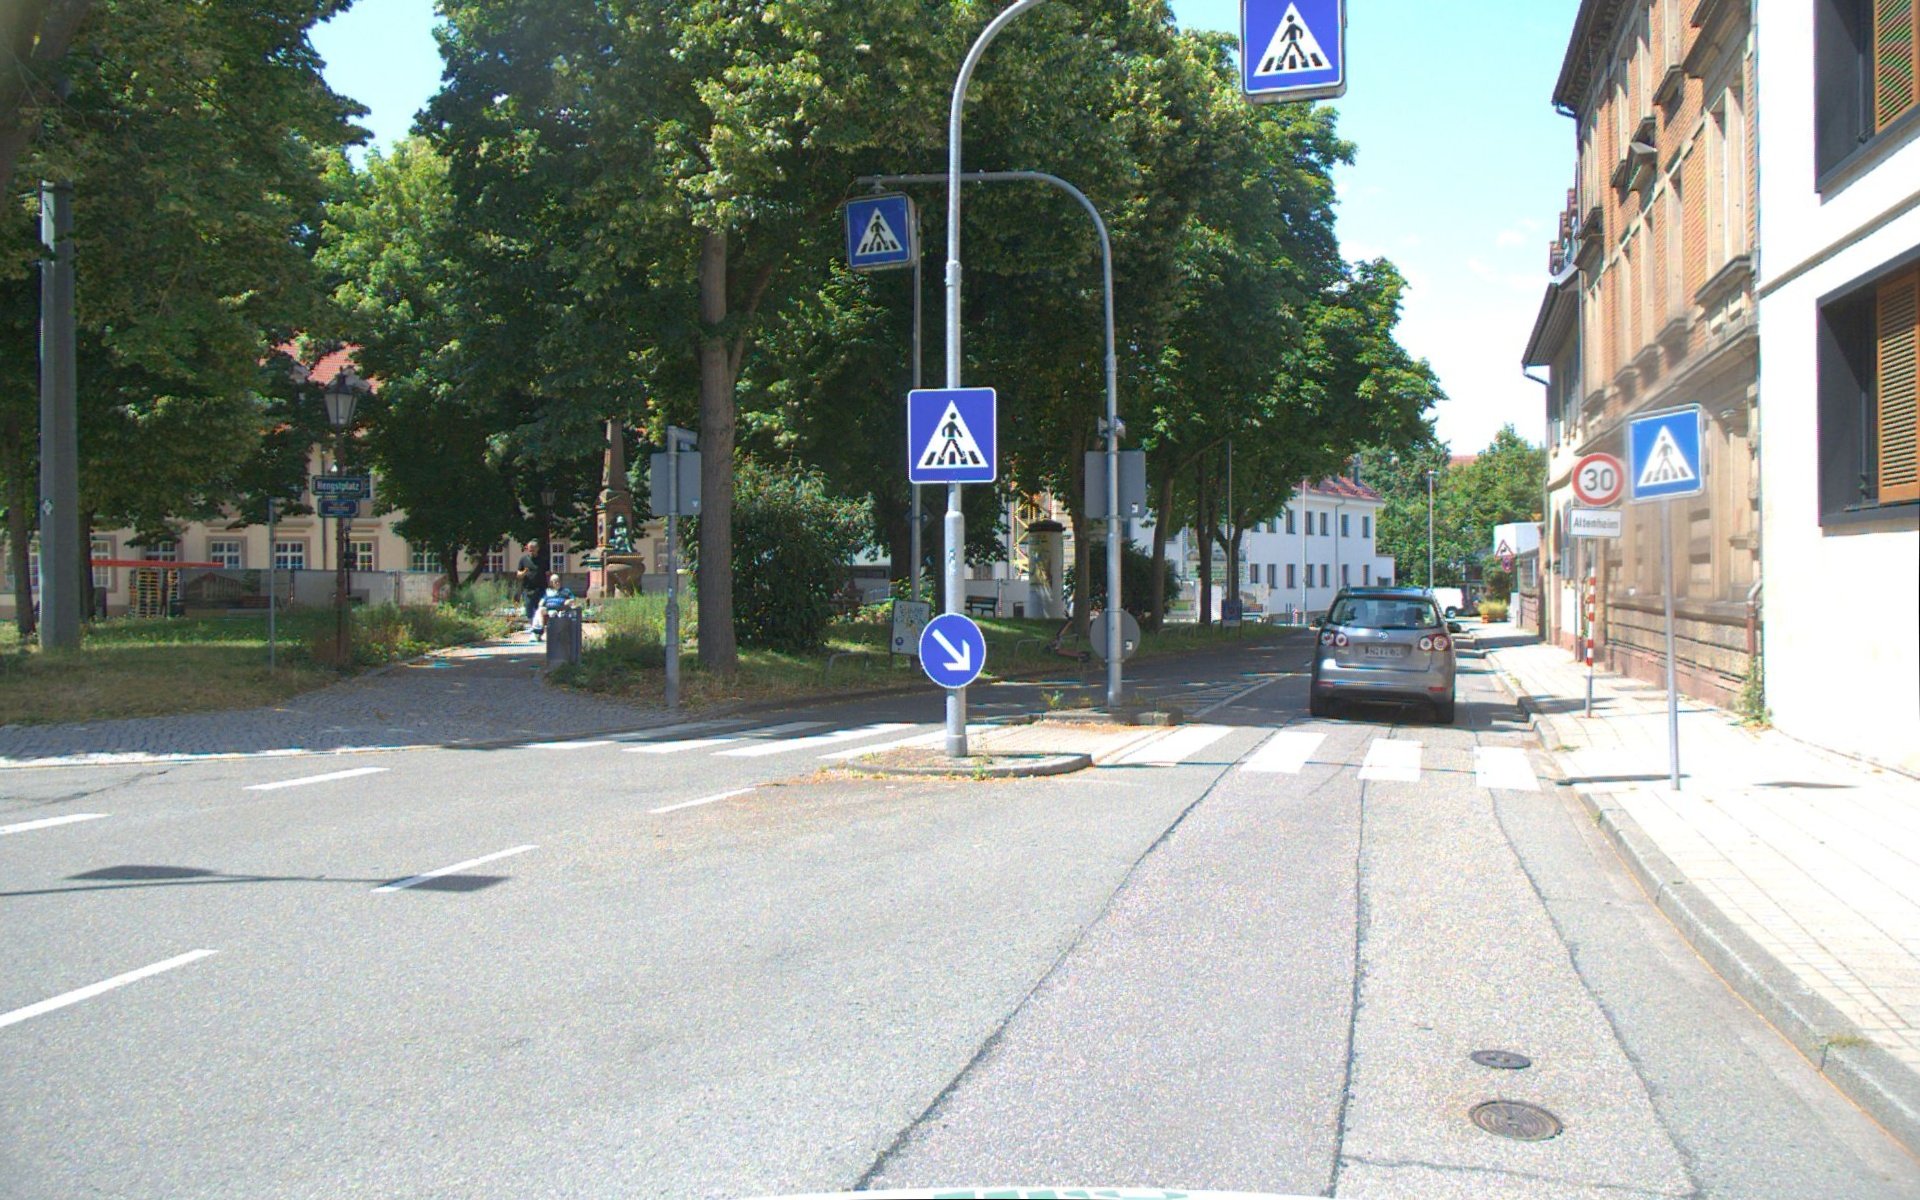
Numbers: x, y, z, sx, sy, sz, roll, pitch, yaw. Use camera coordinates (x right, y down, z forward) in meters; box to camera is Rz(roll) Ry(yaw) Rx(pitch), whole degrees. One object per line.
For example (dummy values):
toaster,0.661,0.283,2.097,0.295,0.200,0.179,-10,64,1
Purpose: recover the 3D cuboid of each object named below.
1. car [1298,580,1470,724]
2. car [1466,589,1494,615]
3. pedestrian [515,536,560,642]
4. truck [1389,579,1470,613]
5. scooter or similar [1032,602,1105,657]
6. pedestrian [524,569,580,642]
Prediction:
car,5.410,0.568,21.168,1.863,1.560,4.247,3,1,14
car,33.498,0.119,106.620,1.612,1.601,3.641,1,1,17
pedestrian,-7.864,-0.224,30.804,0.734,1.944,0.683,-1,2,-10
truck,29.184,-0.261,102.934,4.691,2.049,2.148,0,0,10
scooter or similar,2.396,0.638,36.428,1.246,1.008,1.453,8,2,14
pedestrian,-7.382,0.091,29.979,0.889,1.273,1.145,-1,2,-10
